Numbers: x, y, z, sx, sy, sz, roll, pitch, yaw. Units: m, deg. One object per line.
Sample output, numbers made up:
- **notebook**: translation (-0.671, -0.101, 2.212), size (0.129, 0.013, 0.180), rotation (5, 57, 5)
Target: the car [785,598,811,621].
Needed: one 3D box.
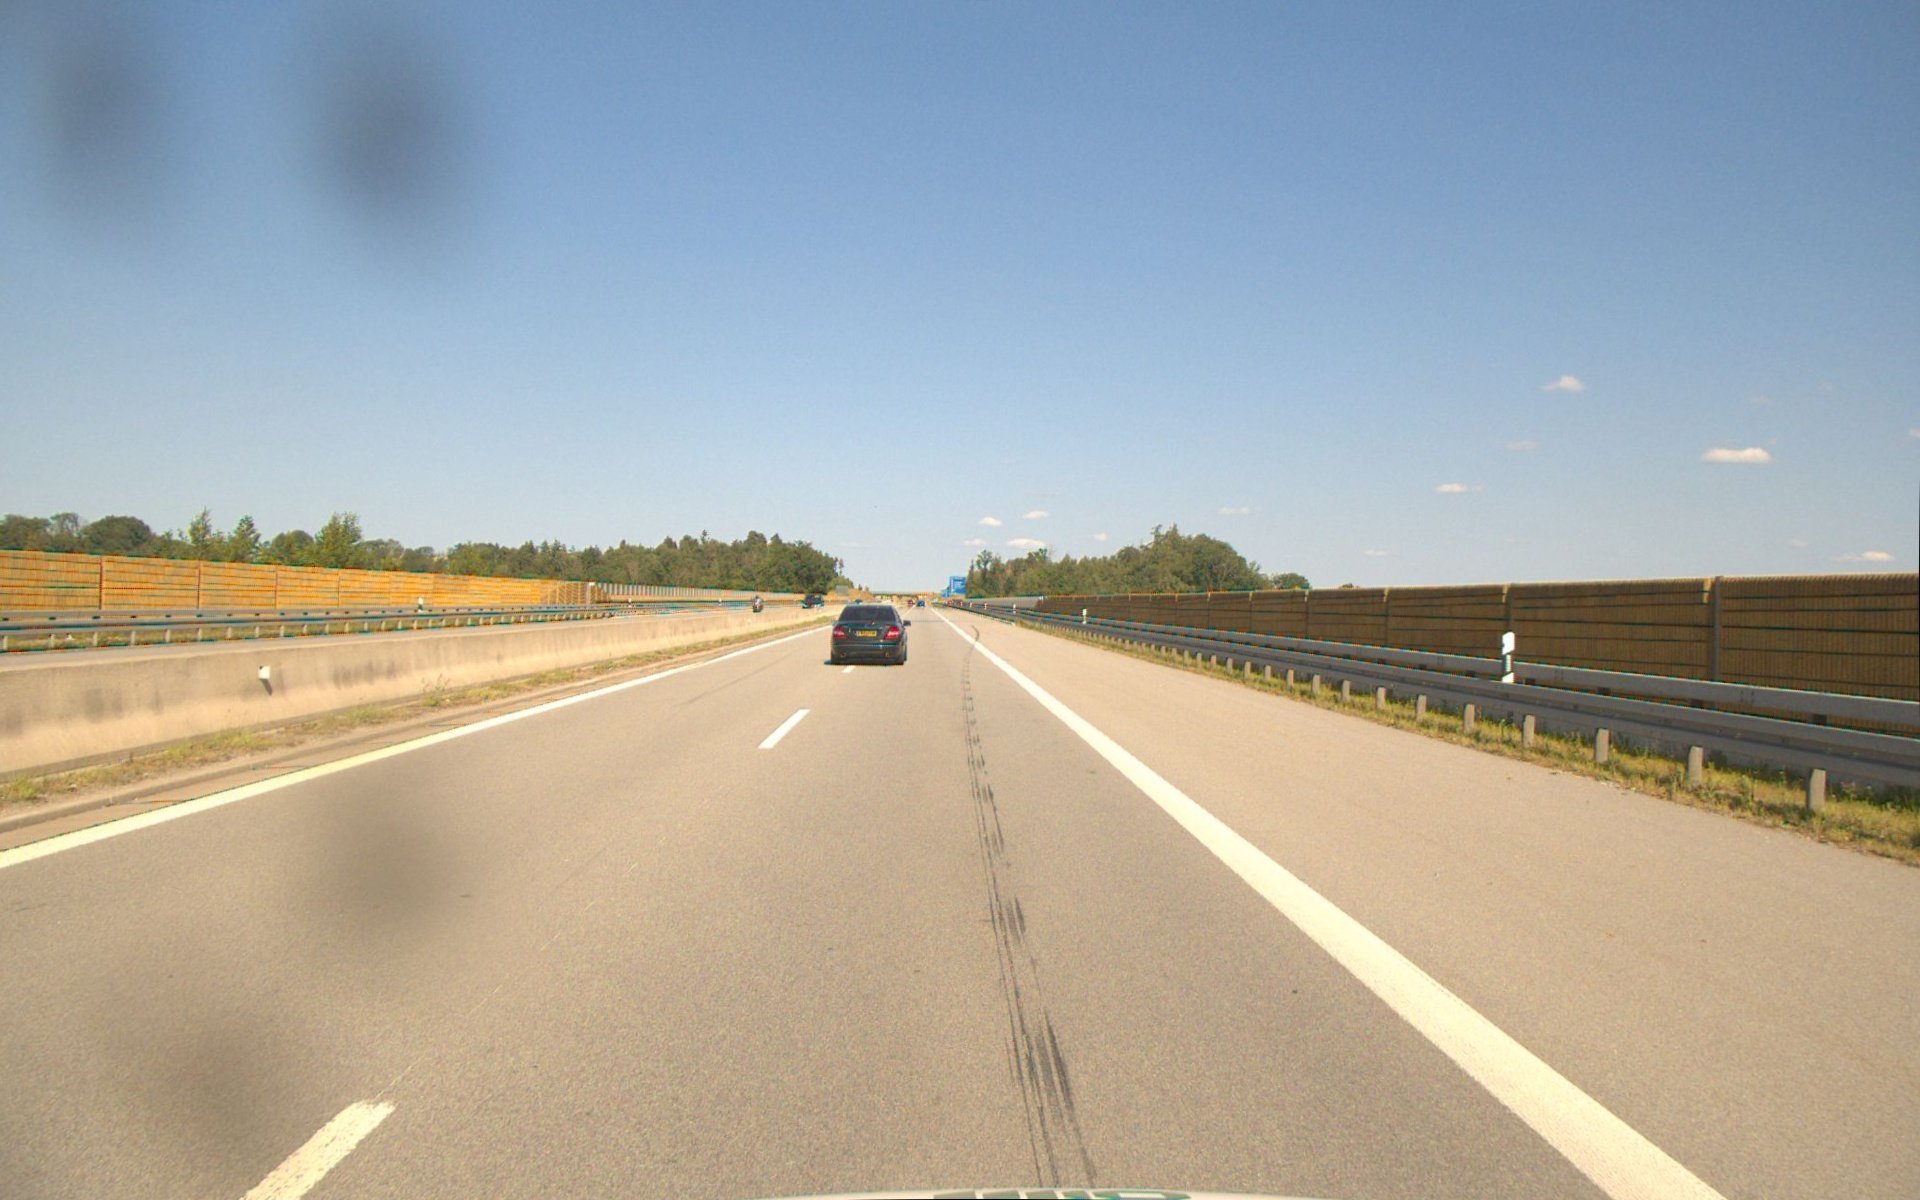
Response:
- **car**: translation (-15.242, 0.905, 155.849), size (1.953, 2.049, 5.735), rotation (1, 0, -1)

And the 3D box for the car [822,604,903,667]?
- **car**: translation (-2.293, 0.808, 39.592), size (1.754, 1.398, 3.916), rotation (1, 0, -1)

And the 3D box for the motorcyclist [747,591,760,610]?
- **motorcyclist**: translation (-17.800, 0.047, 142.618), size (0.992, 1.591, 1.428), rotation (1, -1, -1)

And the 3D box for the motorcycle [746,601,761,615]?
- **motorcycle**: translation (-17.806, 0.690, 142.597), size (0.992, 1.187, 2.867), rotation (1, 0, -1)
